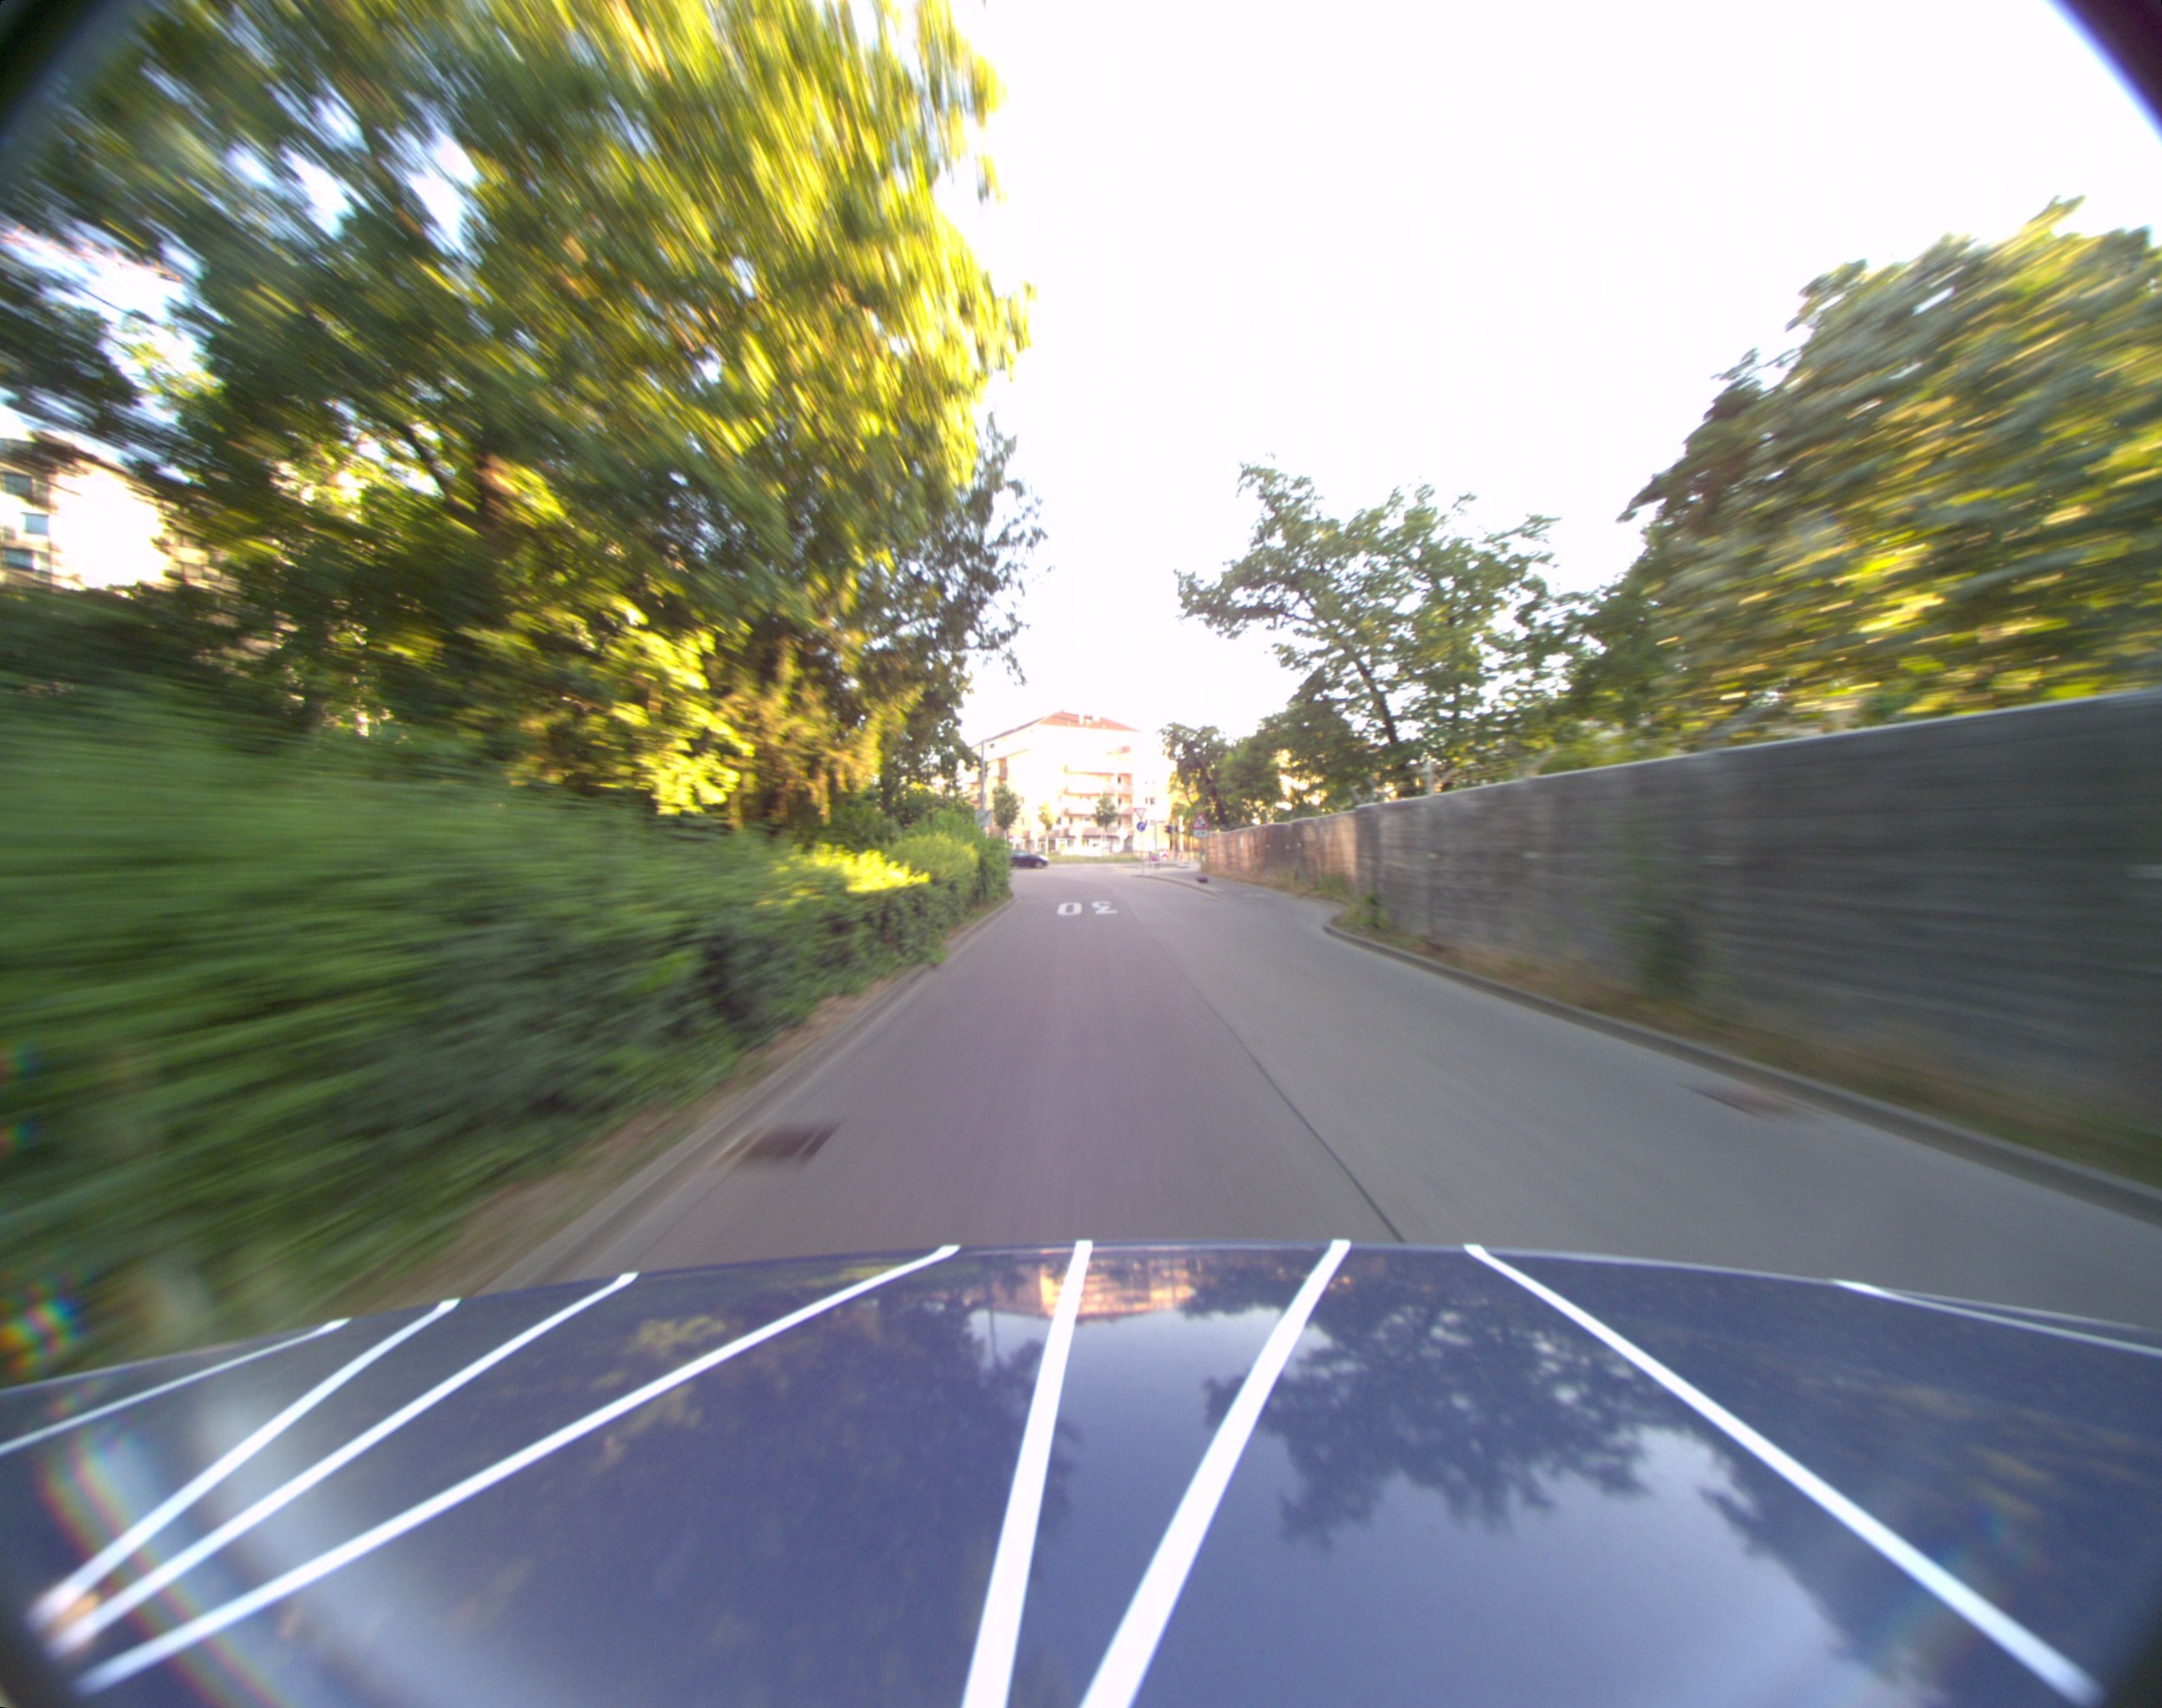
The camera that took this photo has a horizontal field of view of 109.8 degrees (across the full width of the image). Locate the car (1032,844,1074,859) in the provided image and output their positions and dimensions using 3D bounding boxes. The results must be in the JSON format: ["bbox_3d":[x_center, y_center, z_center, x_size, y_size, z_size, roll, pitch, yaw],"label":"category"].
[{"bbox_3d":[-2.963,-0.320,80.534,4.006,1.496,1.995,-1,3,-29],"label":"car"}]

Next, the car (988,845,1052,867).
[{"bbox_3d":[-4.120,0.084,50.893,3.913,1.380,1.797,-1,2,-21],"label":"car"}]
